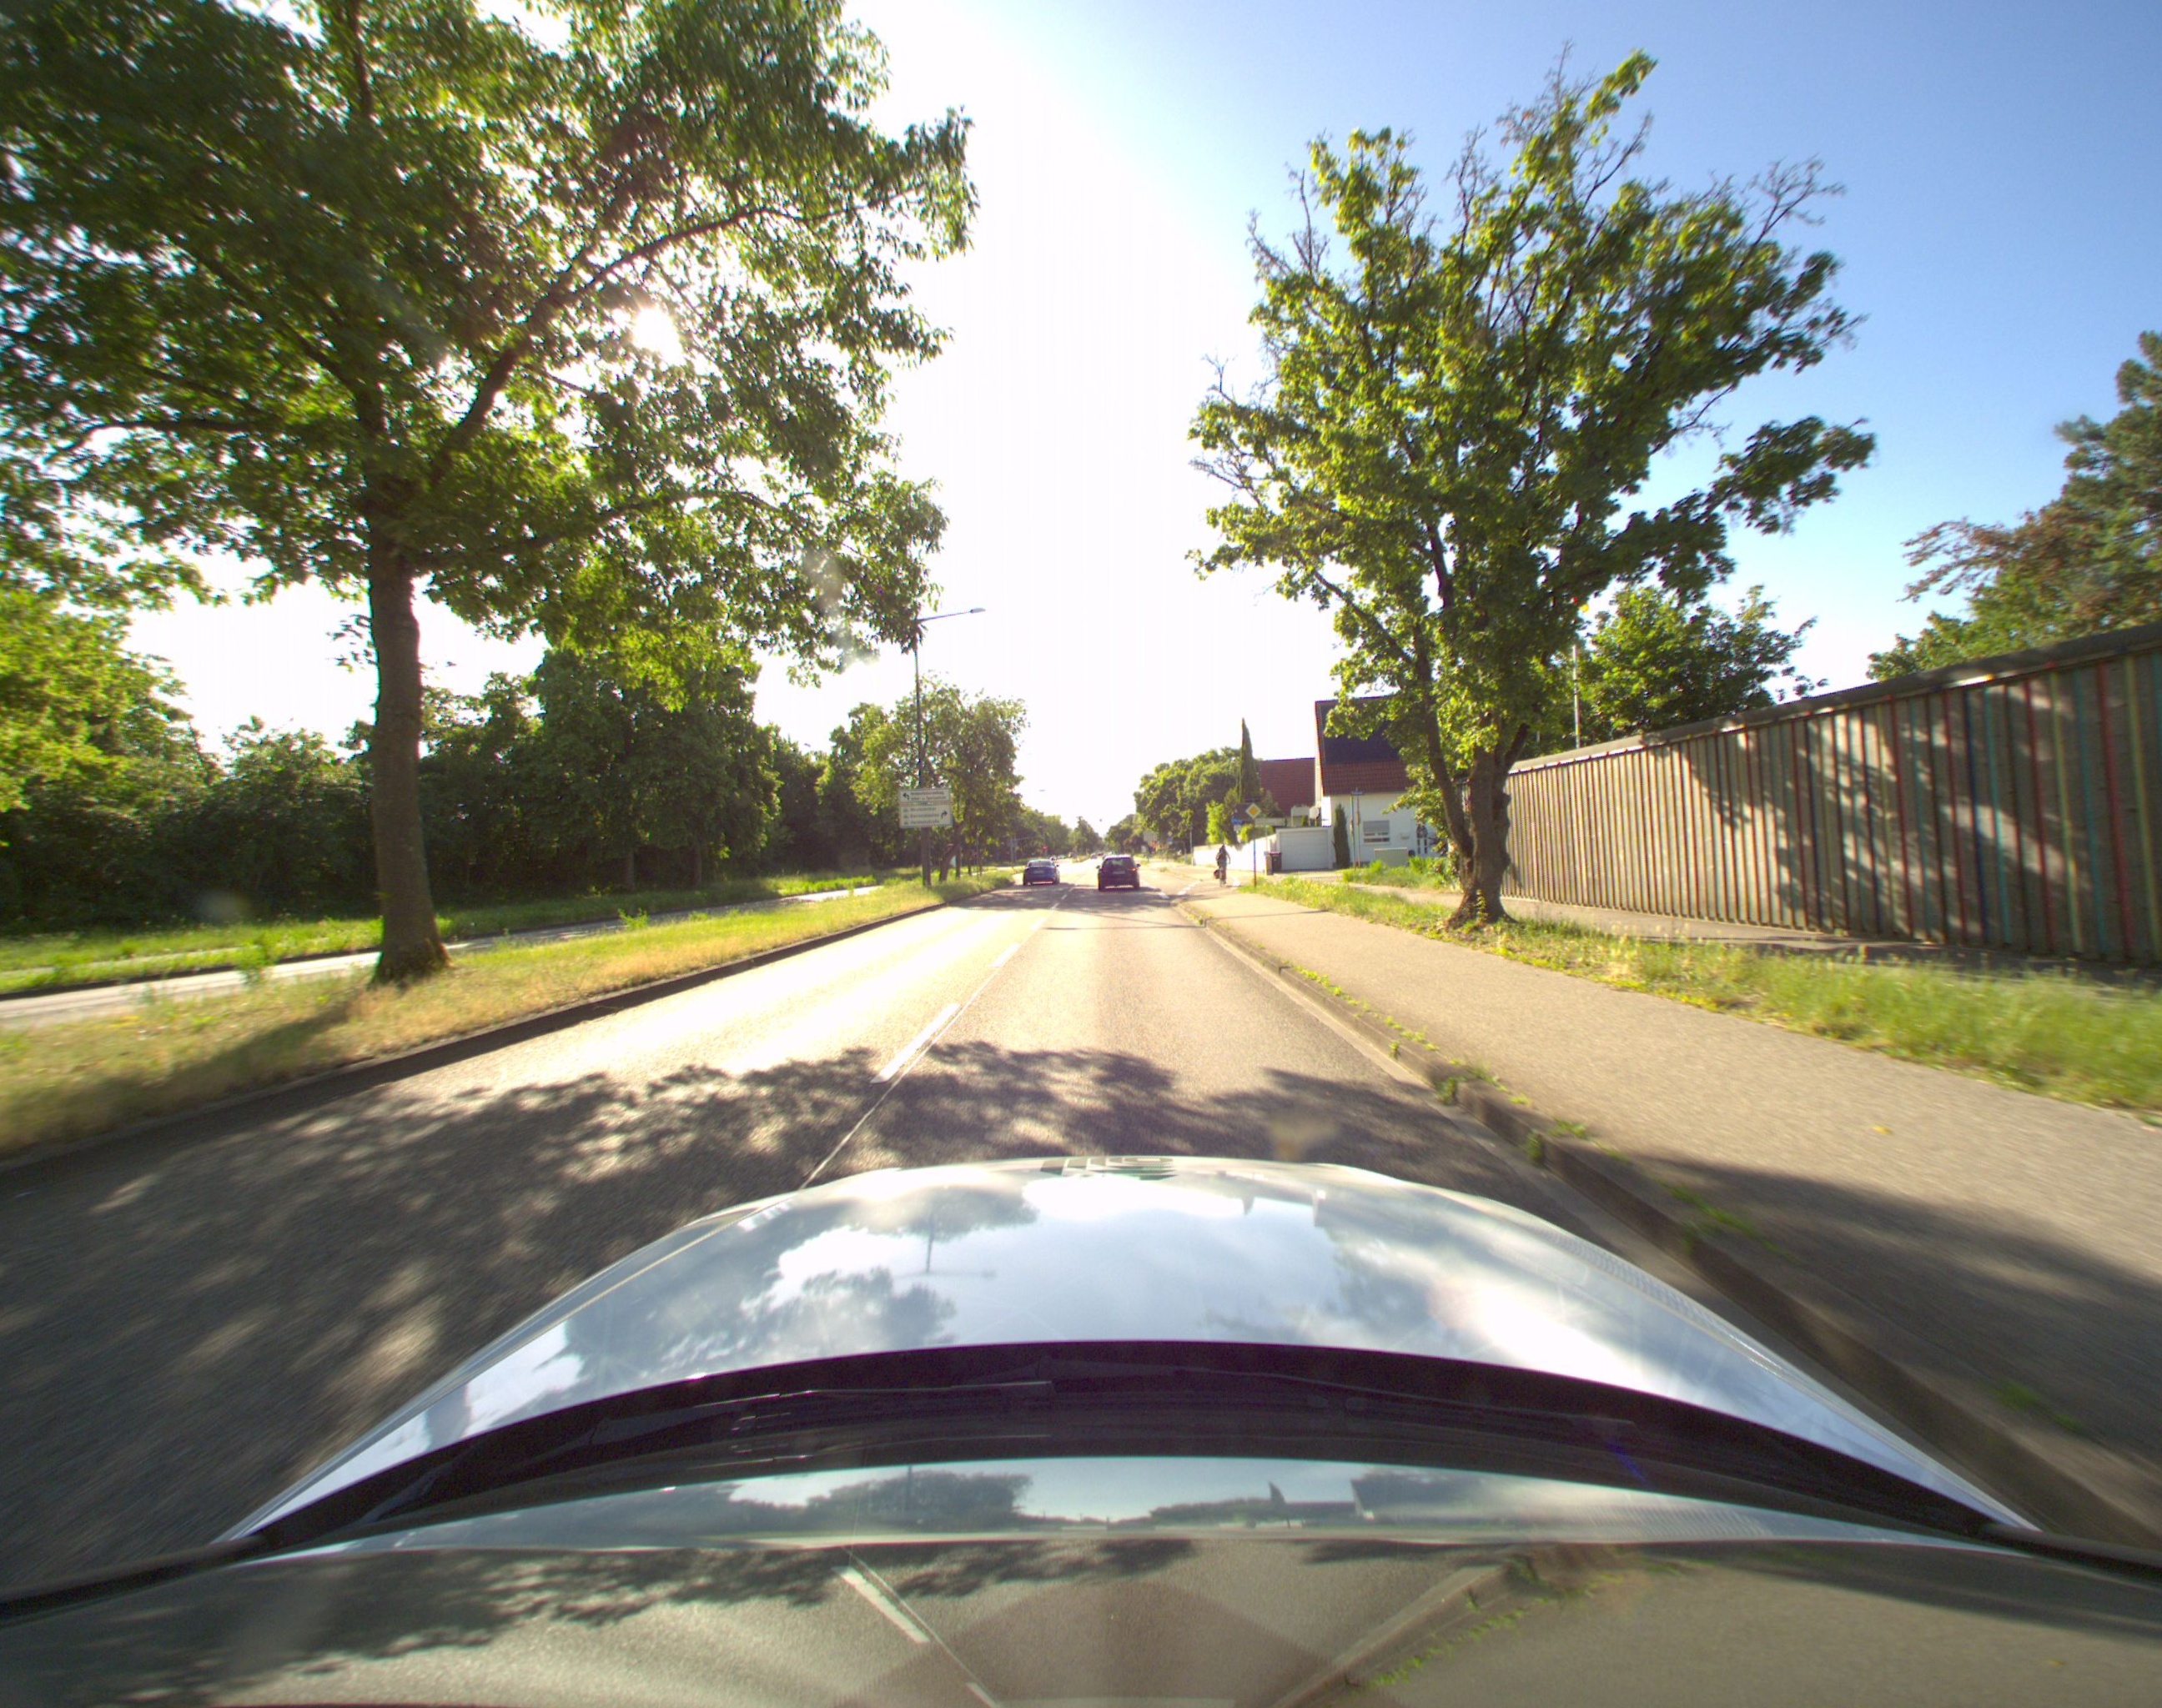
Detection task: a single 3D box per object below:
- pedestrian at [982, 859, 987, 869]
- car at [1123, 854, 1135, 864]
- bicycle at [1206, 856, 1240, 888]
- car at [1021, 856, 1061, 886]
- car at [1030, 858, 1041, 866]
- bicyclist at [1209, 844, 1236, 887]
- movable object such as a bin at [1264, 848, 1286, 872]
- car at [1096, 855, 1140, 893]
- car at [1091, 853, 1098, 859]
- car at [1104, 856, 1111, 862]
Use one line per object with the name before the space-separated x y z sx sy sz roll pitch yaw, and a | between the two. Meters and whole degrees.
pedestrian | -19.753 2.050 166.497 0.842 1.835 0.550 -2 0 3
car | 7.319 0.808 124.039 1.724 1.459 3.845 -2 0 5
bicycle | 5.827 0.727 33.330 0.568 1.155 2.154 -5 0 29
car | -2.204 0.917 46.083 1.881 1.552 4.001 -2 -1 2
car | -9.632 1.757 172.357 1.904 1.703 4.410 0 -1 2
bicyclist | 5.789 0.463 33.309 0.624 1.632 0.988 -5 0 29
movable object such as a bin | 10.560 0.336 44.420 0.996 1.205 1.065 -4 -1 9
car | 1.581 0.831 35.105 1.749 1.509 3.810 -1 -1 2
car | 3.640 0.540 225.002 1.818 1.615 3.840 -1 0 0
car | 6.349 1.207 196.617 1.725 1.585 3.842 0 -1 2
